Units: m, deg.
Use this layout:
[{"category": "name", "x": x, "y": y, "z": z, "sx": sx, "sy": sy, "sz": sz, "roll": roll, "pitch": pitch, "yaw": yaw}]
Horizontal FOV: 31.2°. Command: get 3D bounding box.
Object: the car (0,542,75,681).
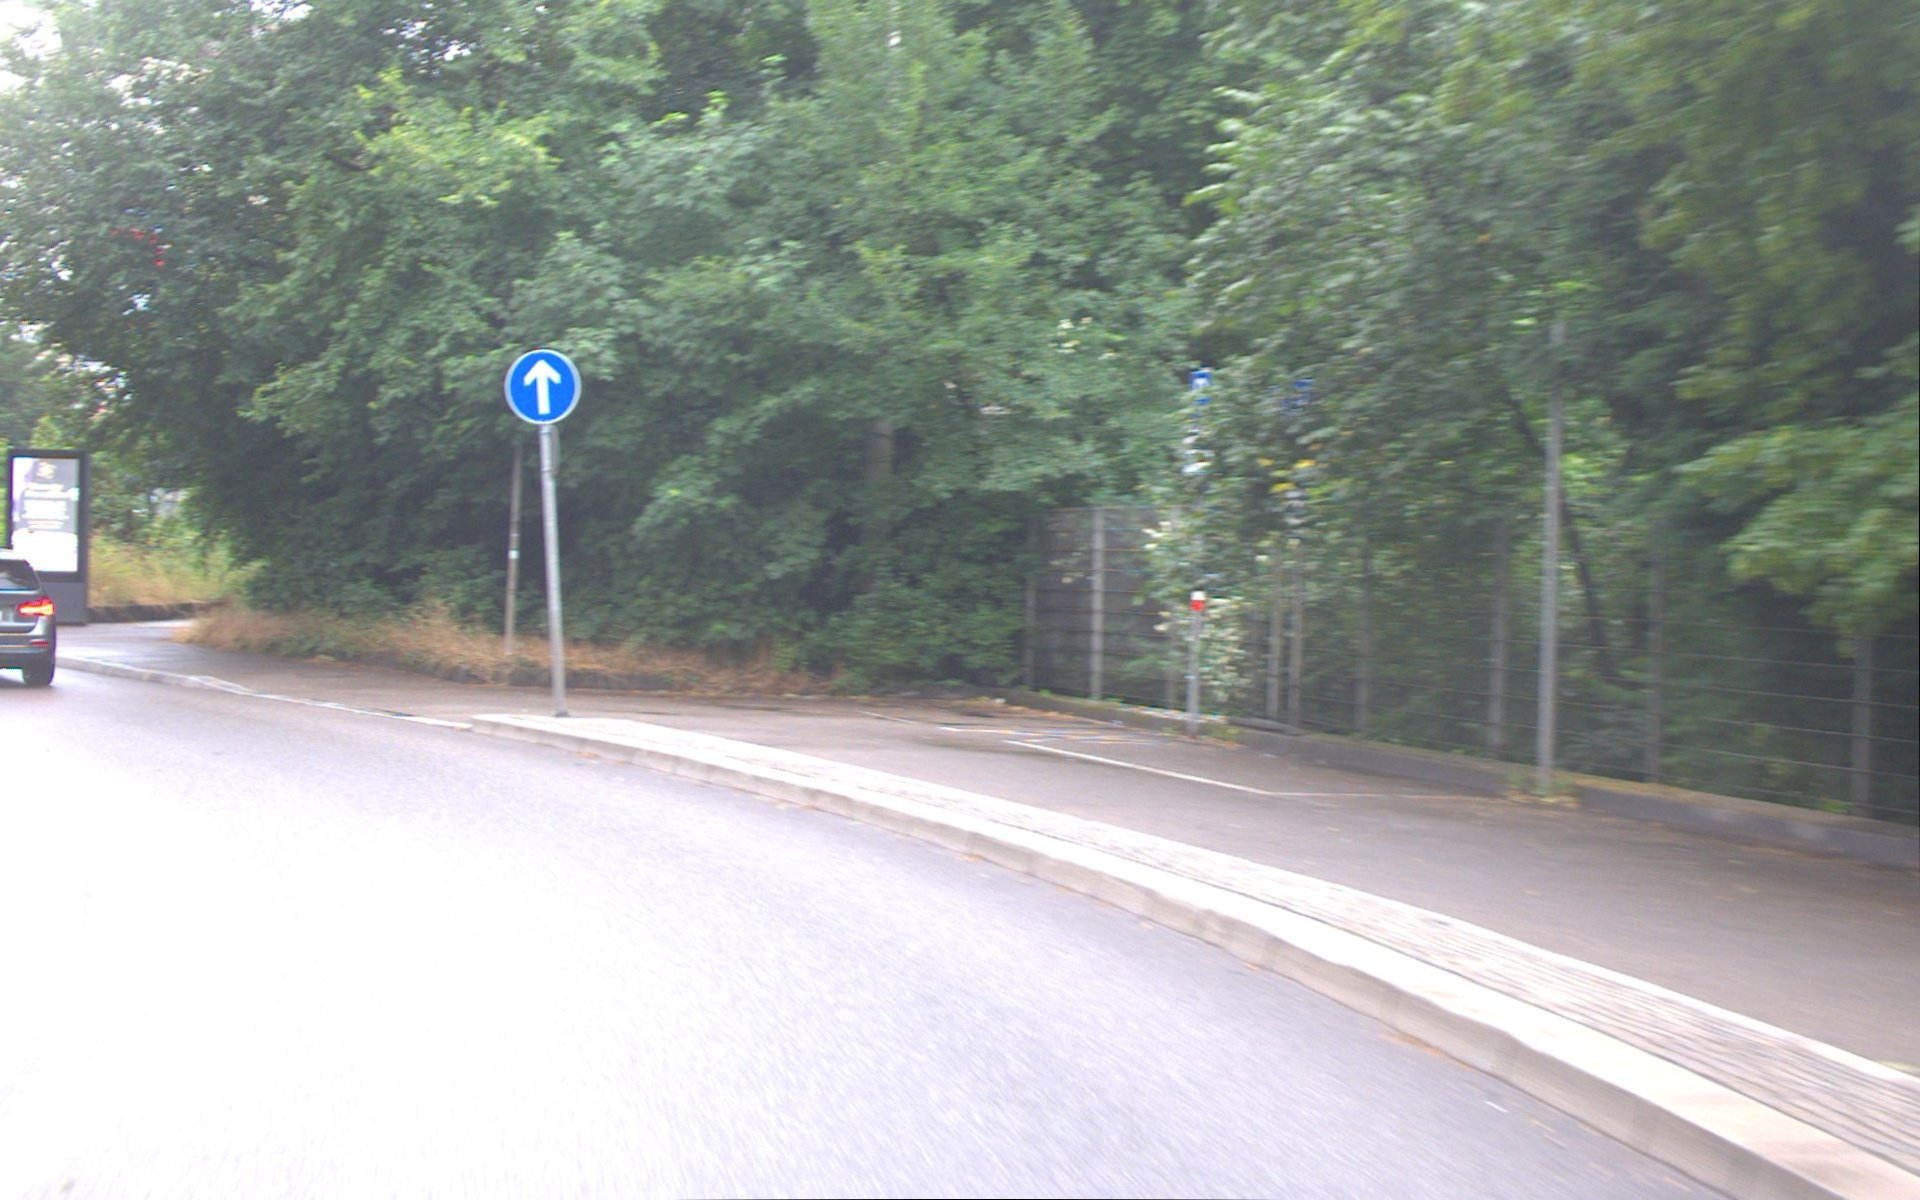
[{"category": "car", "x": -10.739, "y": 0.088, "z": 36.960, "sx": 1.958, "sy": 1.421, "sz": 4.126, "roll": 0, "pitch": 1, "yaw": -20}]
